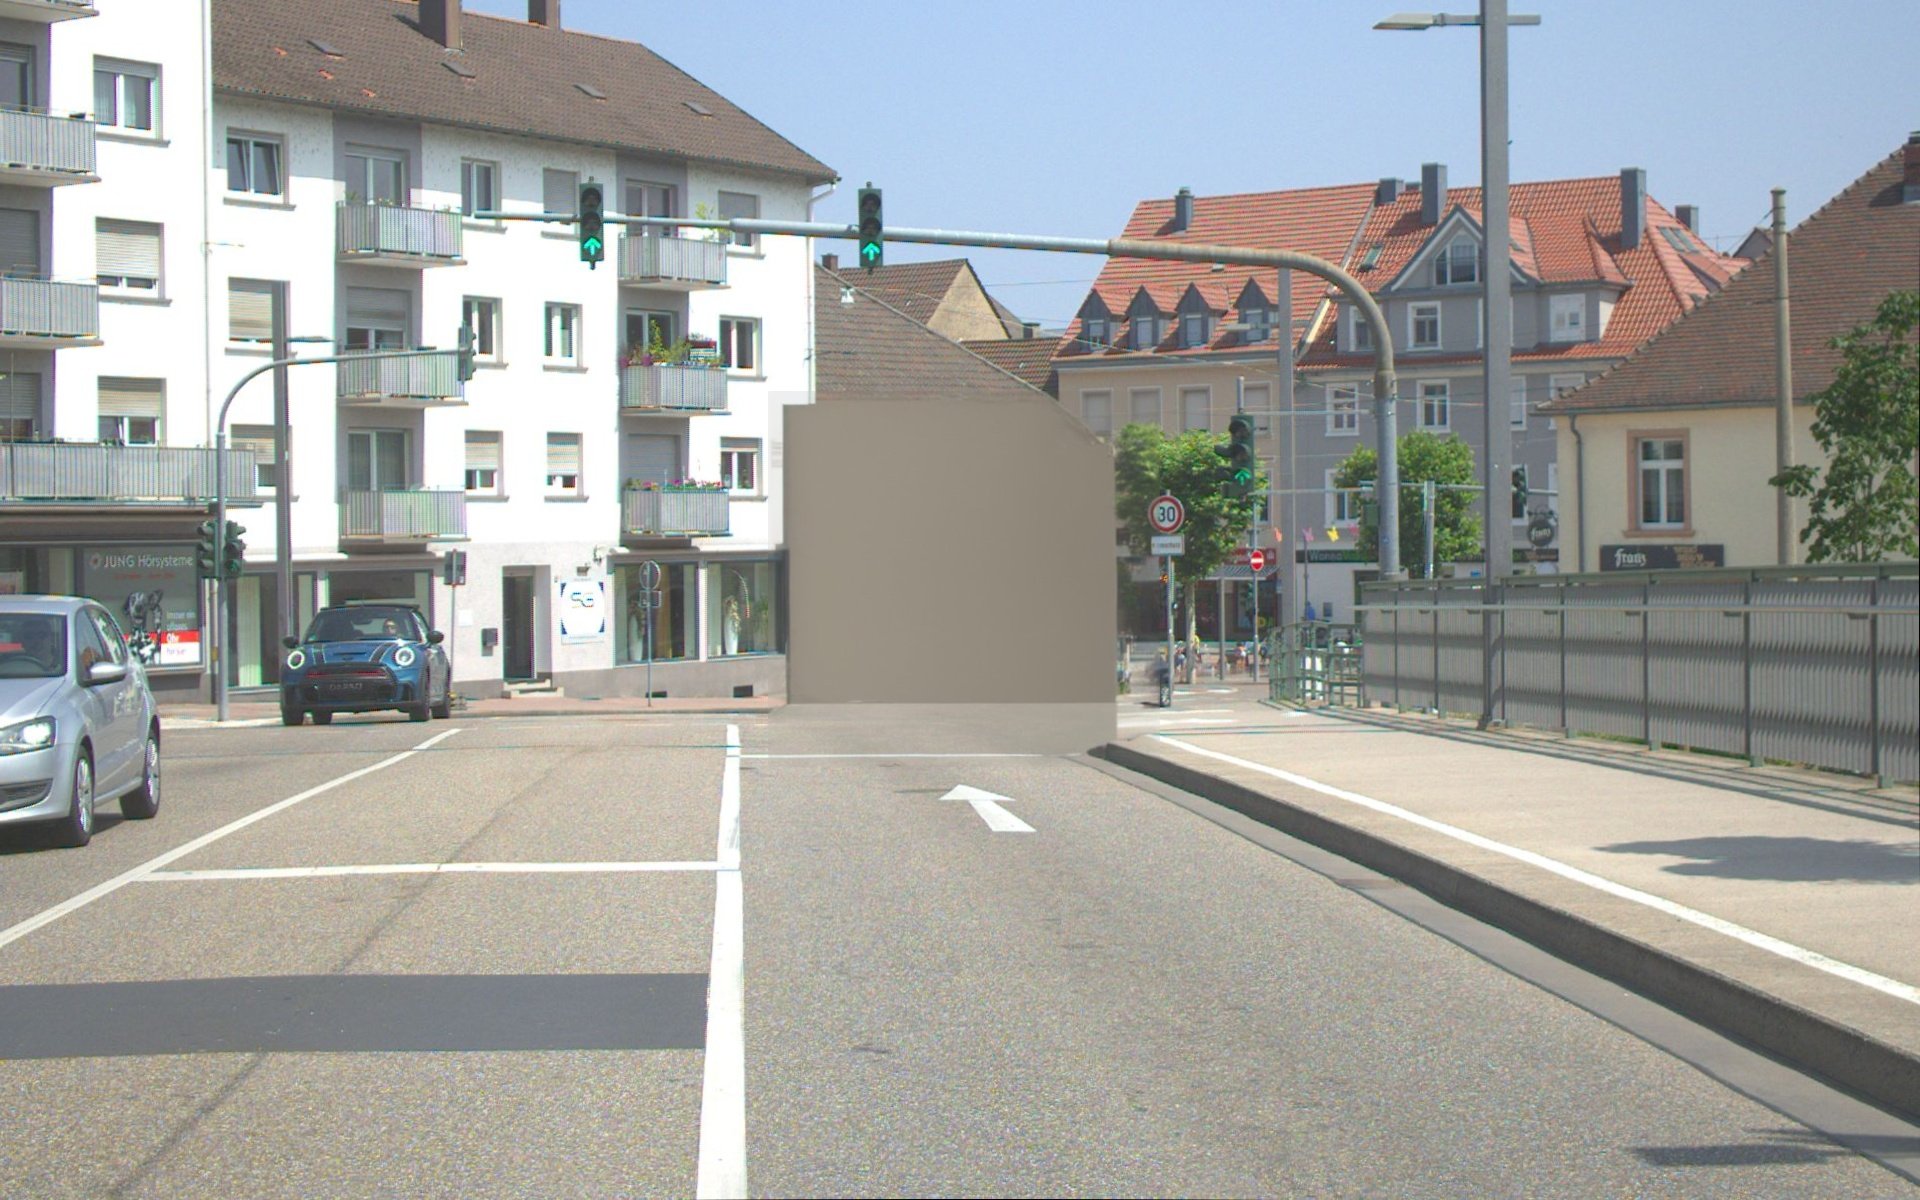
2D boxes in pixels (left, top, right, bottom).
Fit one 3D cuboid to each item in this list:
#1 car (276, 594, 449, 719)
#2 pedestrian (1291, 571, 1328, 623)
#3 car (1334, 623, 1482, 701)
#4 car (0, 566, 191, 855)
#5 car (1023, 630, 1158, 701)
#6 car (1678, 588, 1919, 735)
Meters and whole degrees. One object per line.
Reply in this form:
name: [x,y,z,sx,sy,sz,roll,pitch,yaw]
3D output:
car: [-7.153,0.654,41.439,1.656,1.435,3.756,0,0,-4]
pedestrian: [13.436,-0.113,132.275,1.032,1.974,1.018,1,1,32]
car: [10.648,1.435,81.438,1.993,1.607,4.336,0,2,29]
car: [-5.853,0.594,20.496,1.760,1.514,4.001,-1,1,-2]
car: [3.108,1.529,81.070,1.678,1.483,3.949,-3,0,26]
car: [16.418,1.100,63.859,5.624,2.619,2.238,0,1,31]
